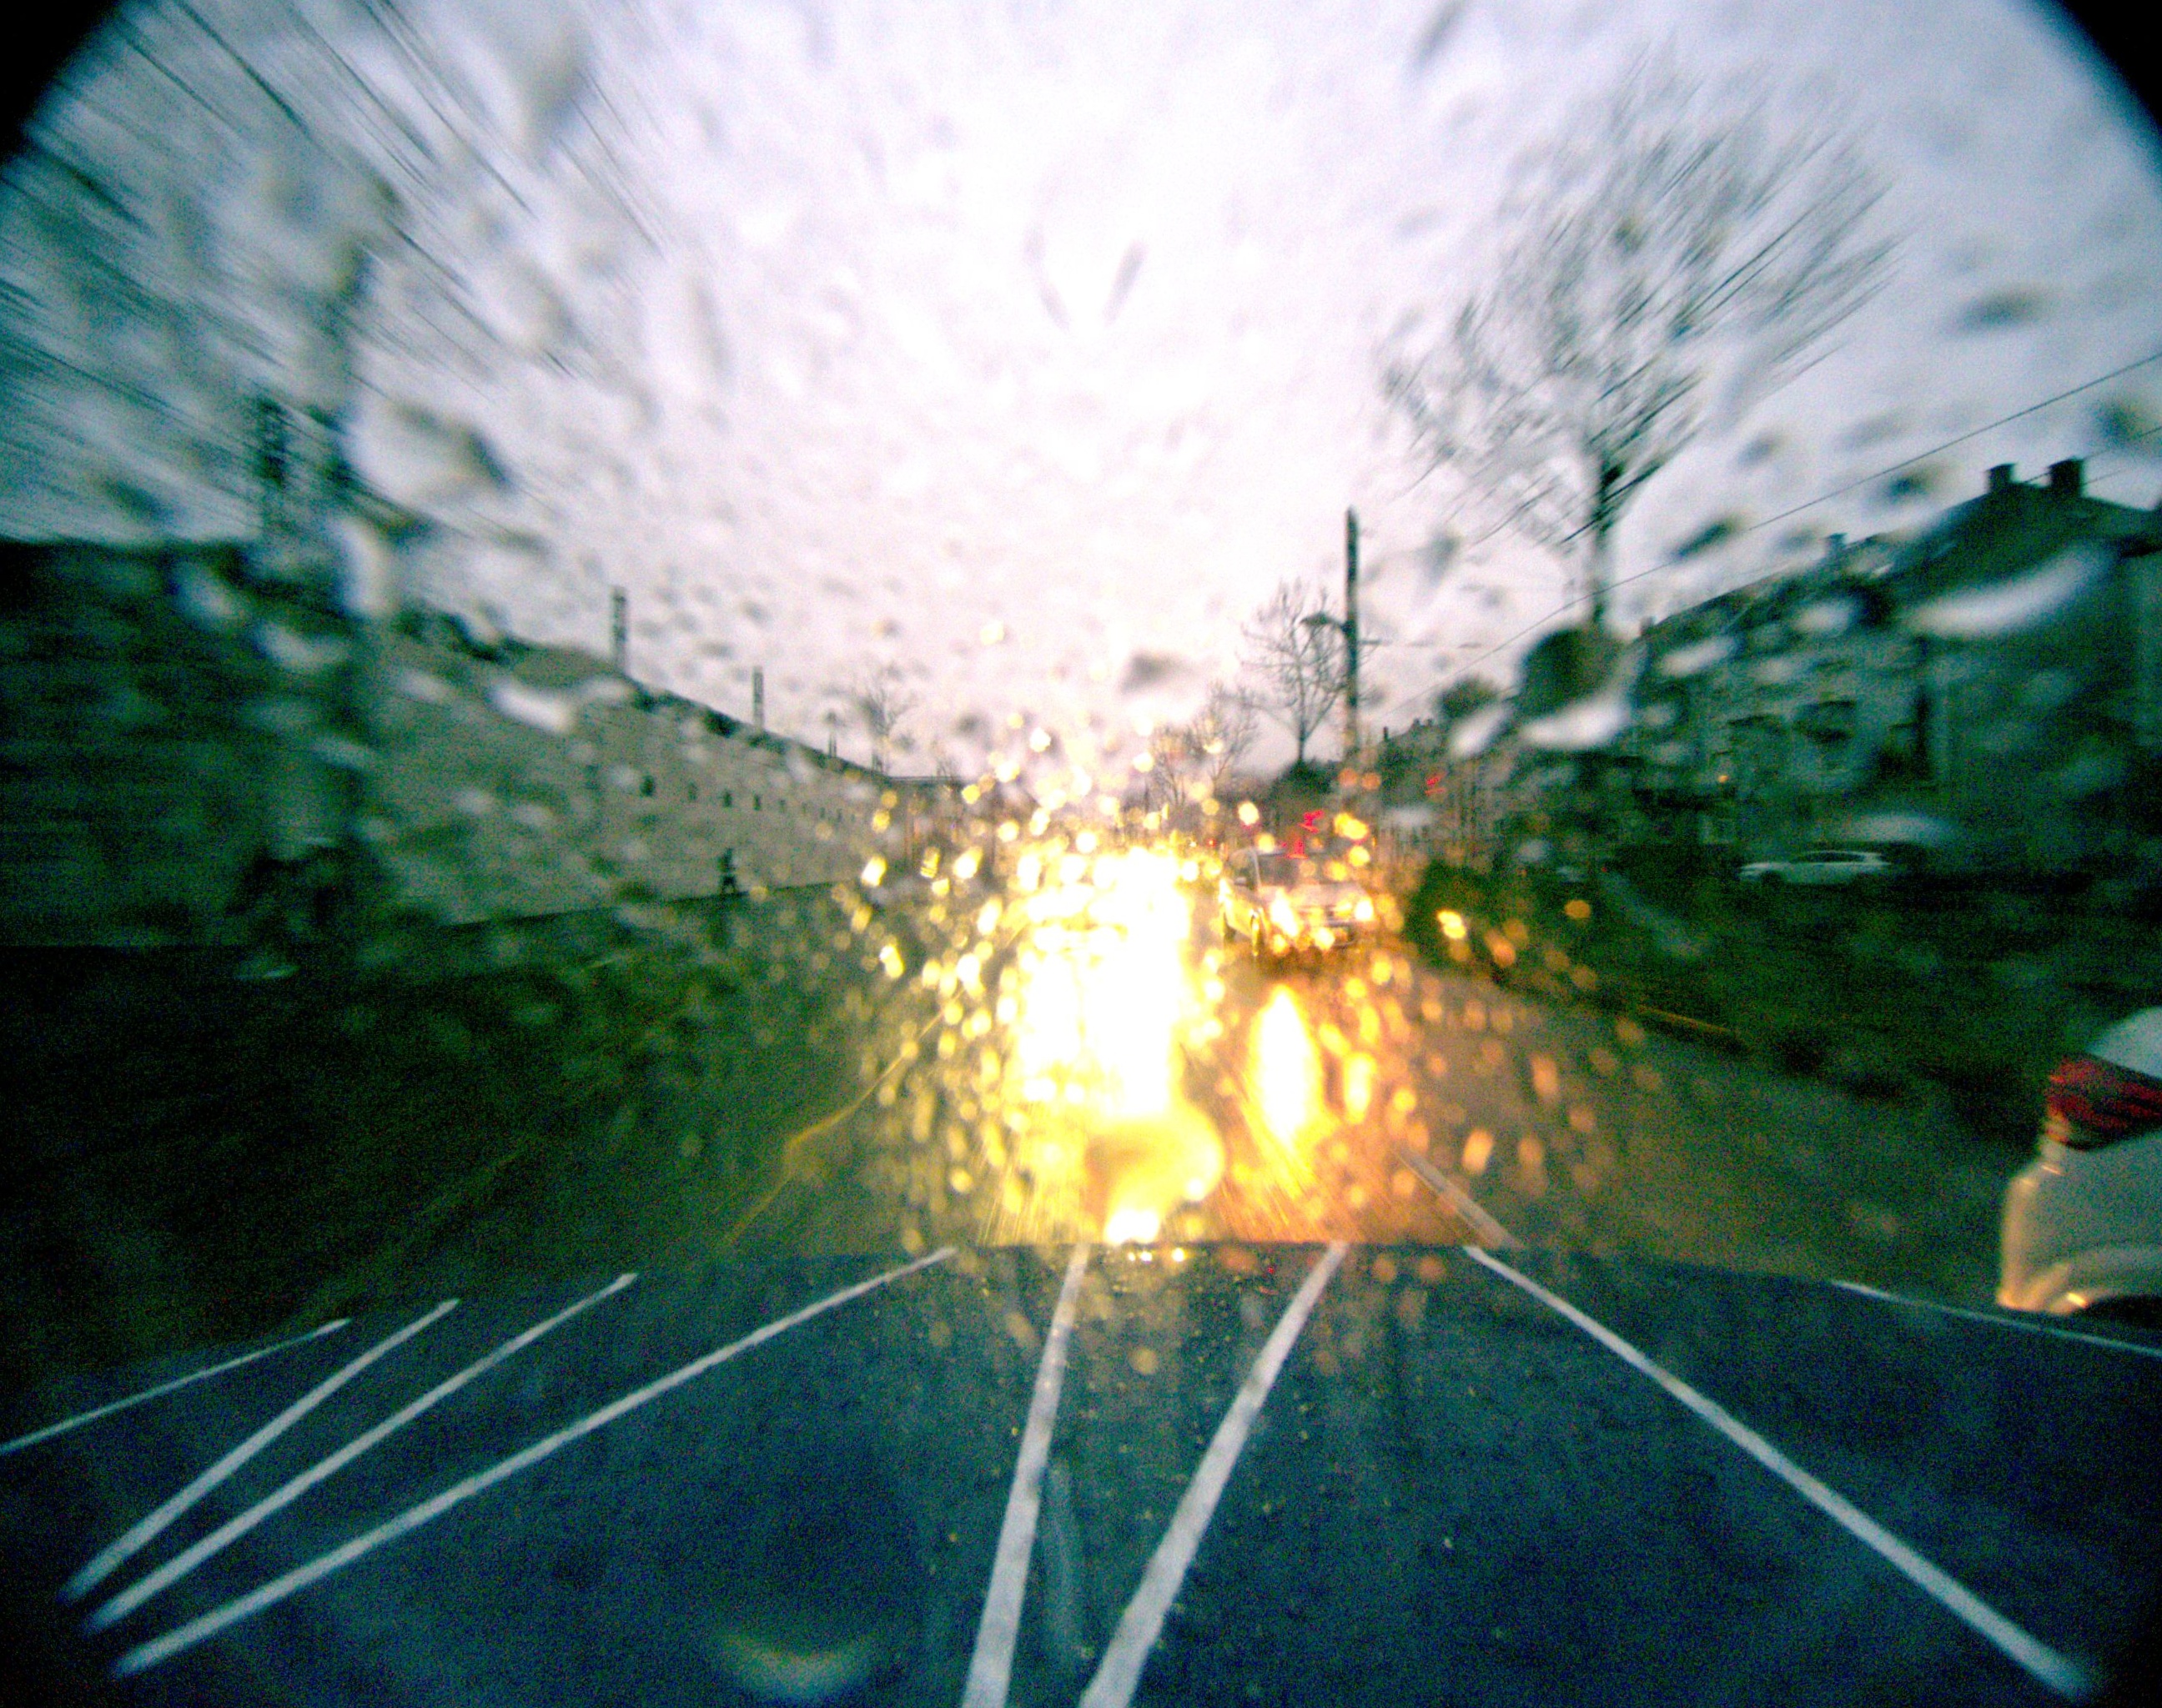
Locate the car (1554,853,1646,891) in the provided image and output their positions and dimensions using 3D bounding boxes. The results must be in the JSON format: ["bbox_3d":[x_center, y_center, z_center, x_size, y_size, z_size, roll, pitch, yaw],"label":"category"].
[{"bbox_3d":[22.989,0.770,33.815,1.549,1.496,3.783,-2,1,1],"label":"car"}]

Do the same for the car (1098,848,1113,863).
[{"bbox_3d":[2.872,0.131,90.379,1.686,1.669,3.467,-2,1,1],"label":"car"}]

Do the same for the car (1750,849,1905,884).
[{"bbox_3d":[29.354,0.505,30.104,4.254,1.251,1.837,-2,1,41],"label":"car"}]

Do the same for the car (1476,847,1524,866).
[{"bbox_3d":[30.980,0.171,56.267,1.468,1.332,3.910,-2,1,3],"label":"car"}]

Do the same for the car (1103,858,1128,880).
[{"bbox_3d":[2.311,1.009,51.725,1.538,1.347,3.546,-2,1,0],"label":"car"}]

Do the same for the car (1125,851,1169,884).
[{"bbox_3d":[3.183,0.621,37.243,1.905,1.475,3.655,-2,1,2],"label":"car"}]

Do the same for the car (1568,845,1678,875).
[{"bbox_3d":[28.651,0.349,40.253,4.651,1.423,1.697,-2,1,37],"label":"car"}]

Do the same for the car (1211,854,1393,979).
[{"bbox_3d":[3.188,0.807,11.750,1.638,1.511,3.907,-2,1,0],"label":"car"}]

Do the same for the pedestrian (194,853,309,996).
[{"bbox_3d":[-9.869,0.820,9.058,0.673,1.616,0.615,-2,1,16],"label":"pedestrian"}]

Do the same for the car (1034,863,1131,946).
[{"bbox_3d":[0.033,0.914,15.435,1.669,1.325,3.786,-2,1,0],"label":"car"}]

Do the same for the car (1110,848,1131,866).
[{"bbox_3d":[3.815,0.251,73.903,1.802,1.674,3.805,-2,1,0],"label":"car"}]

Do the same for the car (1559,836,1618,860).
[{"bbox_3d":[35.003,-0.431,52.482,1.684,1.542,3.538,-2,1,0],"label":"car"}]

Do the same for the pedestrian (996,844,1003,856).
[{"bbox_3d":[-11.235,-0.568,105.055,0.814,1.621,0.883,1,1,0],"label":"pedestrian"}]

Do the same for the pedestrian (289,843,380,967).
[{"bbox_3d":[-11.004,0.730,11.213,0.673,1.768,0.615,-2,1,14],"label":"pedestrian"}]

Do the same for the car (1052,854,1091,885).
[{"bbox_3d":[-0.423,0.738,37.118,1.737,1.311,3.803,-2,1,0],"label":"car"}]

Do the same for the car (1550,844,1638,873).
[{"bbox_3d":[29.263,0.278,43.420,3.940,1.440,1.823,-2,1,41],"label":"car"}]

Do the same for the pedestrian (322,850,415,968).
[{"bbox_3d":[-10.007,0.760,10.683,0.673,1.603,0.615,-2,1,14],"label":"pedestrian"}]

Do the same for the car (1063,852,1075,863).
[{"bbox_3d":[-2.033,0.602,132.447,1.865,1.732,3.365,-2,1,1],"label":"car"}]

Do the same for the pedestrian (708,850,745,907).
[{"bbox_3d":[-10.447,0.706,22.442,0.669,1.646,0.994,0,2,-5],"label":"pedestrian"}]
